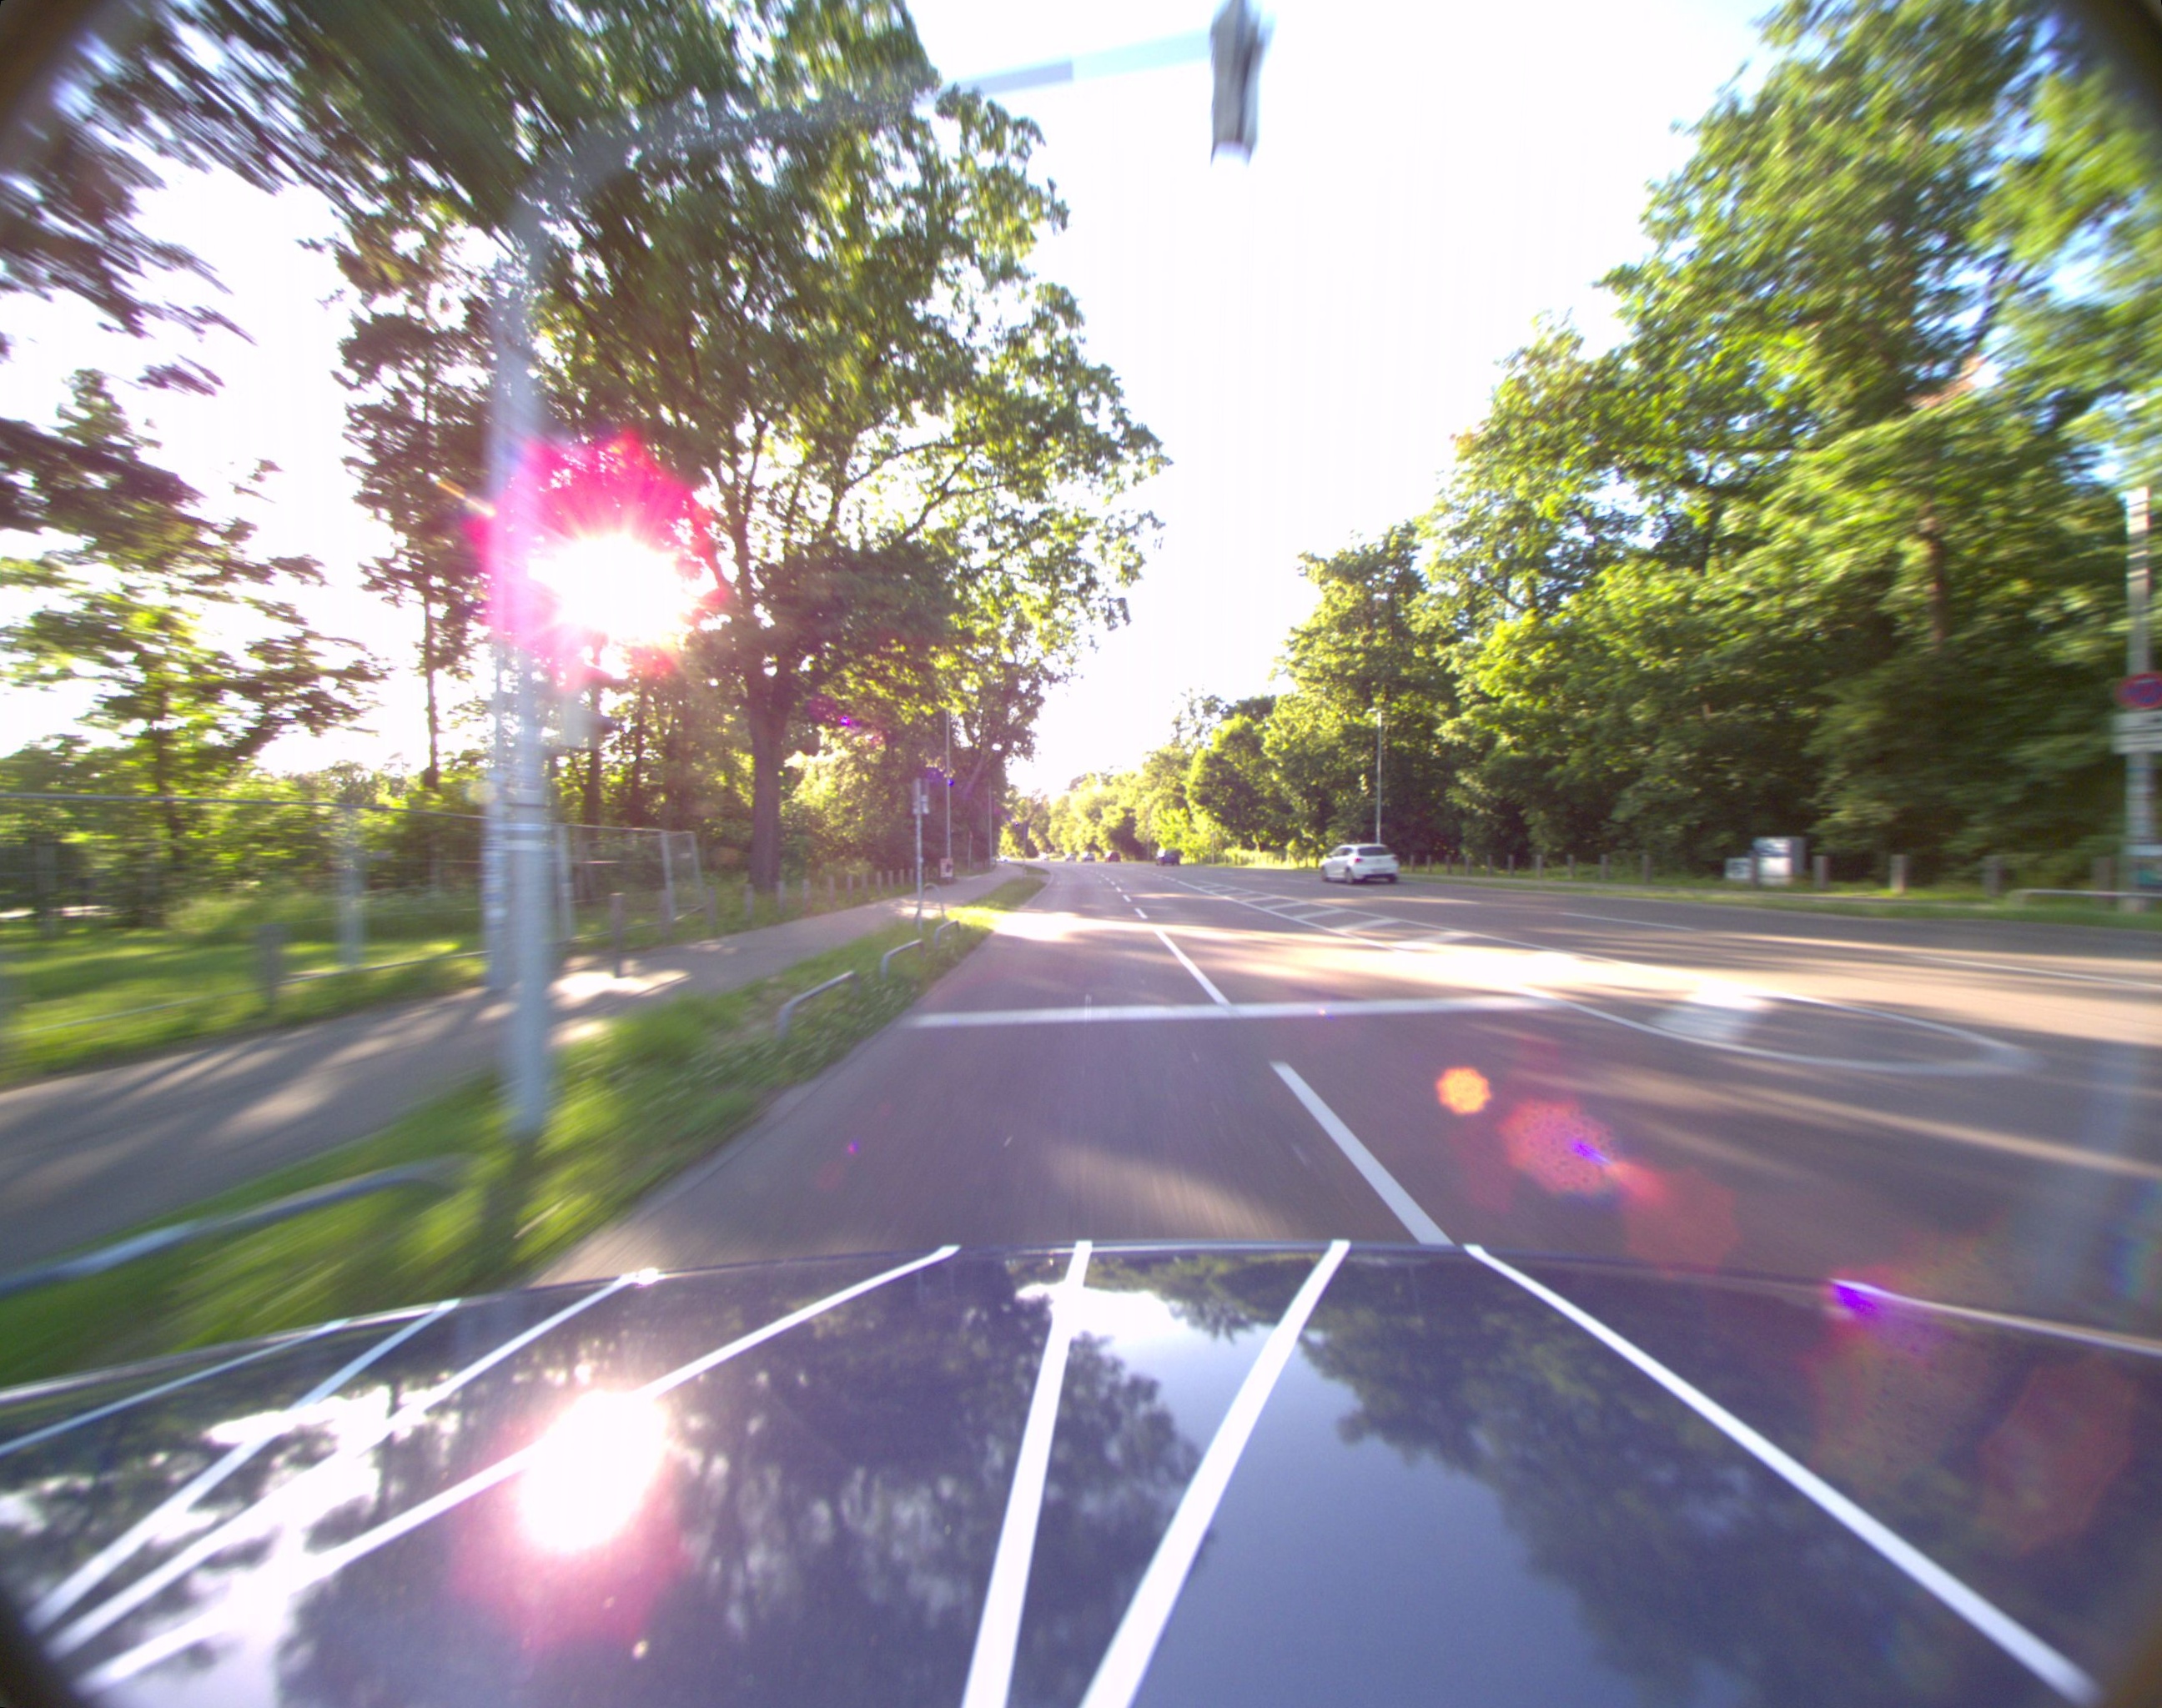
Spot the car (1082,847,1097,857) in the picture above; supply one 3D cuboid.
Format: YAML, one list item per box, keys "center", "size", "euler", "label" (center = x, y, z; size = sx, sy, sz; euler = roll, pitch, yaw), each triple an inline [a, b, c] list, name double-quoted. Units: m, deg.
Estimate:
- center: [1.425, -0.337, 123.808]
  size: [1.788, 1.513, 4.394]
  euler: [-2, 0, -8]
  label: "car"

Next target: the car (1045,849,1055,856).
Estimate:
- center: [-7.205, -0.330, 175.458]
  size: [1.785, 1.400, 4.162]
  euler: [-2, 0, -10]
  label: "car"

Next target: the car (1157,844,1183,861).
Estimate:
- center: [8.112, -0.112, 69.588]
  size: [1.660, 1.499, 3.998]
  euler: [-1, 0, -4]
  label: "car"

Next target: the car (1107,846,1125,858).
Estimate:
- center: [4.668, -0.310, 101.453]
  size: [1.668, 1.509, 3.804]
  euler: [-1, 0, -8]
  label: "car"

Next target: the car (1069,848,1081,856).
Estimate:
- center: [-1.128, -0.424, 141.439]
  size: [1.785, 1.455, 4.270]
  euler: [0, 0, -8]
  label: "car"

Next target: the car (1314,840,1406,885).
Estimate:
- center: [10.280, 0.278, 28.344]
  size: [1.715, 1.455, 4.099]
  euler: [-3, 1, -2]
  label: "car"
